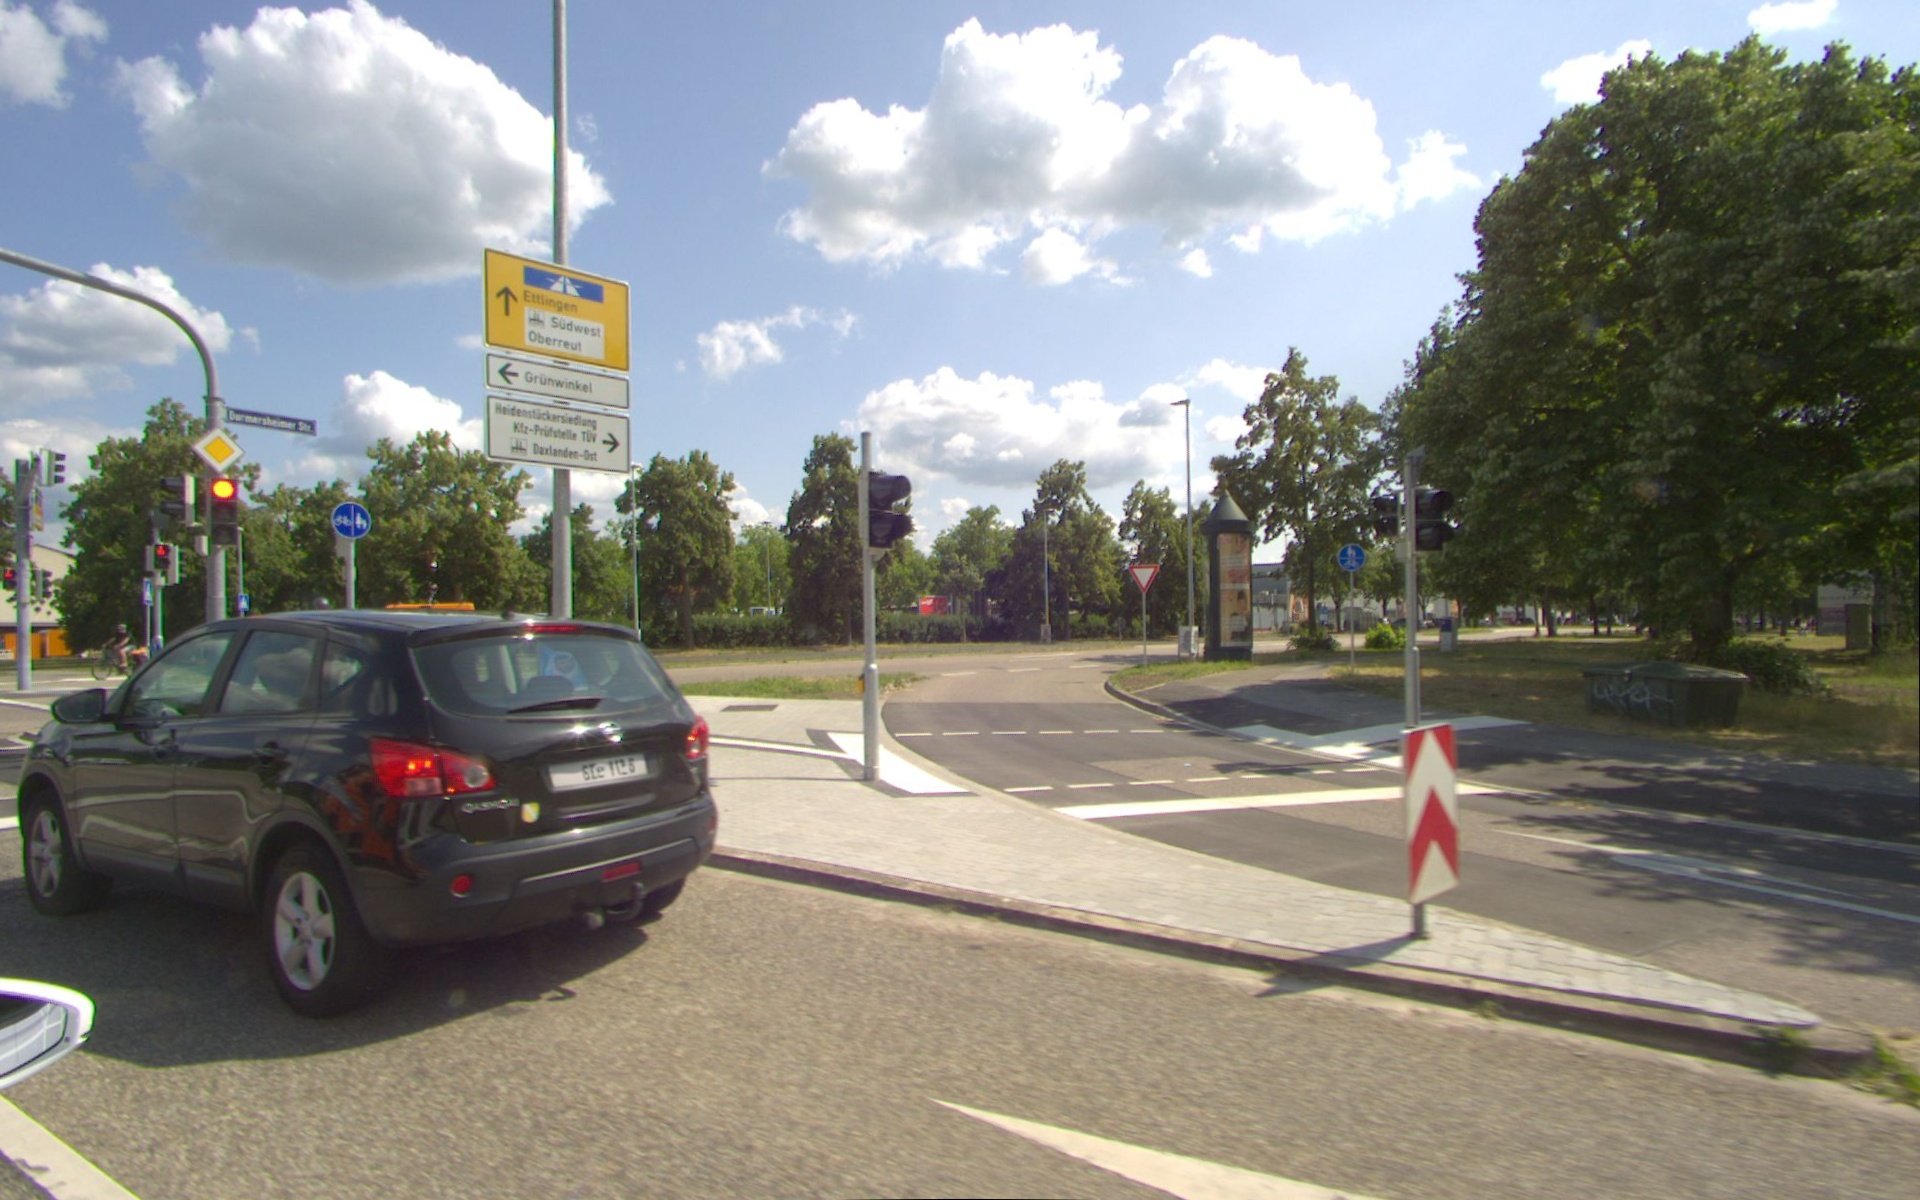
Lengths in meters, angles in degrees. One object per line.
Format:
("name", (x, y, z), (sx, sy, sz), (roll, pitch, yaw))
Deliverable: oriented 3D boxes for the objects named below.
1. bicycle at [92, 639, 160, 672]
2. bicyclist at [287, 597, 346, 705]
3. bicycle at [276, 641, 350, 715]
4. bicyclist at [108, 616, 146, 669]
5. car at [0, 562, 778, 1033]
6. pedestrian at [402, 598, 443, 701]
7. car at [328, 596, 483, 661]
("bicycle", (-29.486, 1.951, 35.434), (0.672, 1.107, 2.004), (0, -2, 3))
("bicyclist", (-10.290, 0.821, 16.015), (0.644, 1.682, 0.644), (3, -4, -43))
("bicycle", (-10.485, 1.248, 16.202), (0.644, 1.121, 1.910), (3, -4, -43))
("bicyclist", (-29.487, 1.505, 35.463), (0.672, 1.827, 0.789), (0, -1, 3))
("car", (-3.044, 0.763, 5.155), (3.942, 1.571, 1.798), (-2, -4, 31))
("pedestrian", (-9.512, 0.877, 17.710), (0.477, 1.800, 0.462), (-2, -3, 42))
("car", (-20.521, 1.116, 37.340), (4.783, 2.253, 2.206), (2, -3, -24))
